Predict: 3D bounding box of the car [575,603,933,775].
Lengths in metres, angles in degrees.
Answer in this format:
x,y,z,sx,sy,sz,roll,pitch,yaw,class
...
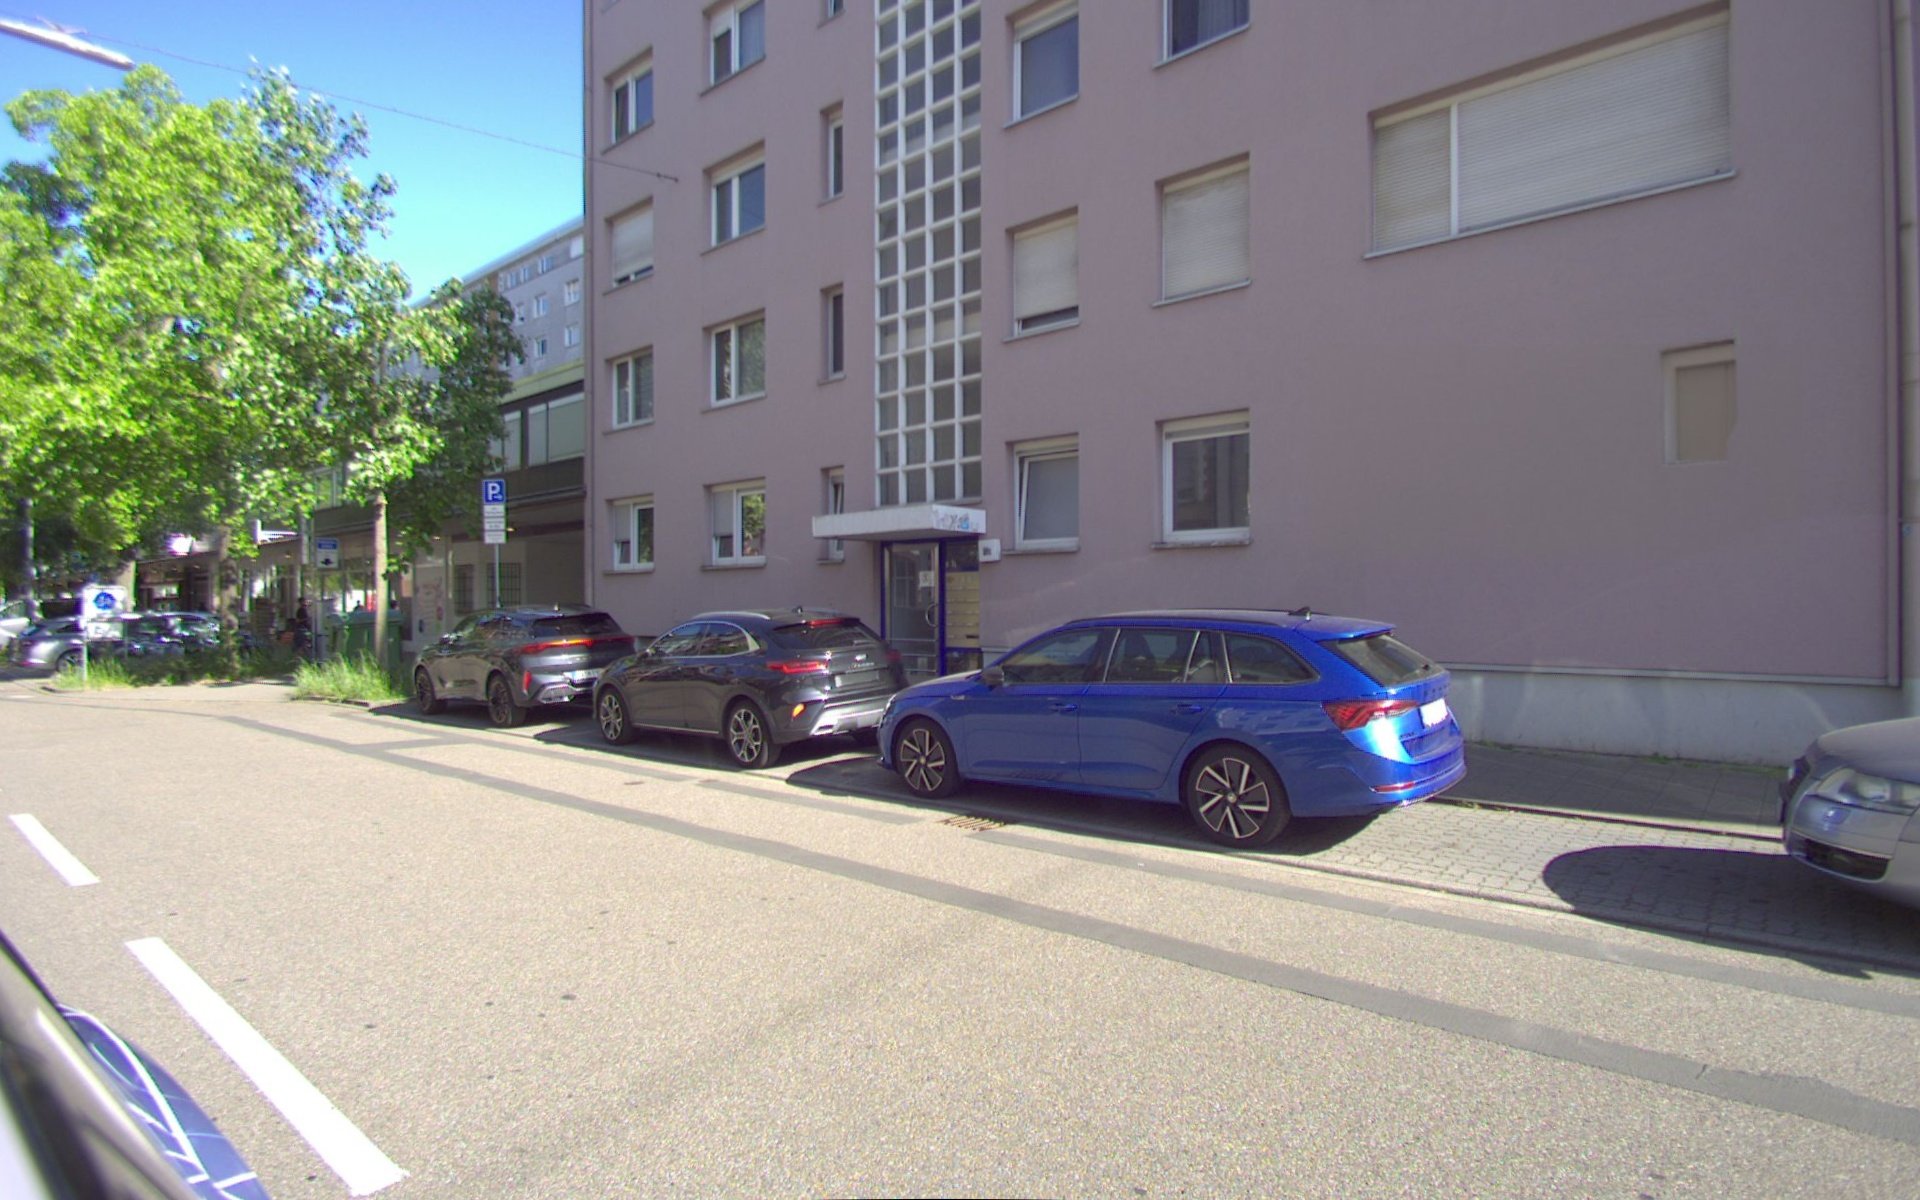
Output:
x,y,z,sx,sy,sz,roll,pitch,yaw,class
-2.396,0.827,11.082,4.157,1.478,1.704,-1,1,43,car

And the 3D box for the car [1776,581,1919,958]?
x,y,z,sx,sy,sz,roll,pitch,yaw,class
6.001,0.656,3.594,4.797,1.514,1.805,-1,1,40,car

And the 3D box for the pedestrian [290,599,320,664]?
x,y,z,sx,sy,sz,roll,pitch,yaw,class
-18.565,0.878,28.675,0.502,1.820,0.615,-1,-1,42,pedestrian

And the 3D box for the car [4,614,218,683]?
x,y,z,sx,sy,sz,roll,pitch,yaw,class
-21.310,1.156,25.504,1.913,1.564,3.943,-1,-1,43,car

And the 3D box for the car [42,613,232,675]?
x,y,z,sx,sy,sz,roll,pitch,yaw,class
-23.085,1.181,28.479,1.913,1.564,3.943,-1,-1,43,car

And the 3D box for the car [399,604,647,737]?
x,y,z,sx,sy,sz,roll,pitch,yaw,class
-6.405,0.902,14.619,4.157,1.588,1.704,-1,1,43,car

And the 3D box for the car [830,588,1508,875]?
x,y,z,sx,sy,sz,roll,pitch,yaw,class
1.321,0.747,7.756,4.797,1.514,1.805,-1,1,40,car

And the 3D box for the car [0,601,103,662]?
x,y,z,sx,sy,sz,roll,pitch,yaw,class
-32.111,1.061,34.808,1.913,2.058,3.824,-1,-1,43,car
